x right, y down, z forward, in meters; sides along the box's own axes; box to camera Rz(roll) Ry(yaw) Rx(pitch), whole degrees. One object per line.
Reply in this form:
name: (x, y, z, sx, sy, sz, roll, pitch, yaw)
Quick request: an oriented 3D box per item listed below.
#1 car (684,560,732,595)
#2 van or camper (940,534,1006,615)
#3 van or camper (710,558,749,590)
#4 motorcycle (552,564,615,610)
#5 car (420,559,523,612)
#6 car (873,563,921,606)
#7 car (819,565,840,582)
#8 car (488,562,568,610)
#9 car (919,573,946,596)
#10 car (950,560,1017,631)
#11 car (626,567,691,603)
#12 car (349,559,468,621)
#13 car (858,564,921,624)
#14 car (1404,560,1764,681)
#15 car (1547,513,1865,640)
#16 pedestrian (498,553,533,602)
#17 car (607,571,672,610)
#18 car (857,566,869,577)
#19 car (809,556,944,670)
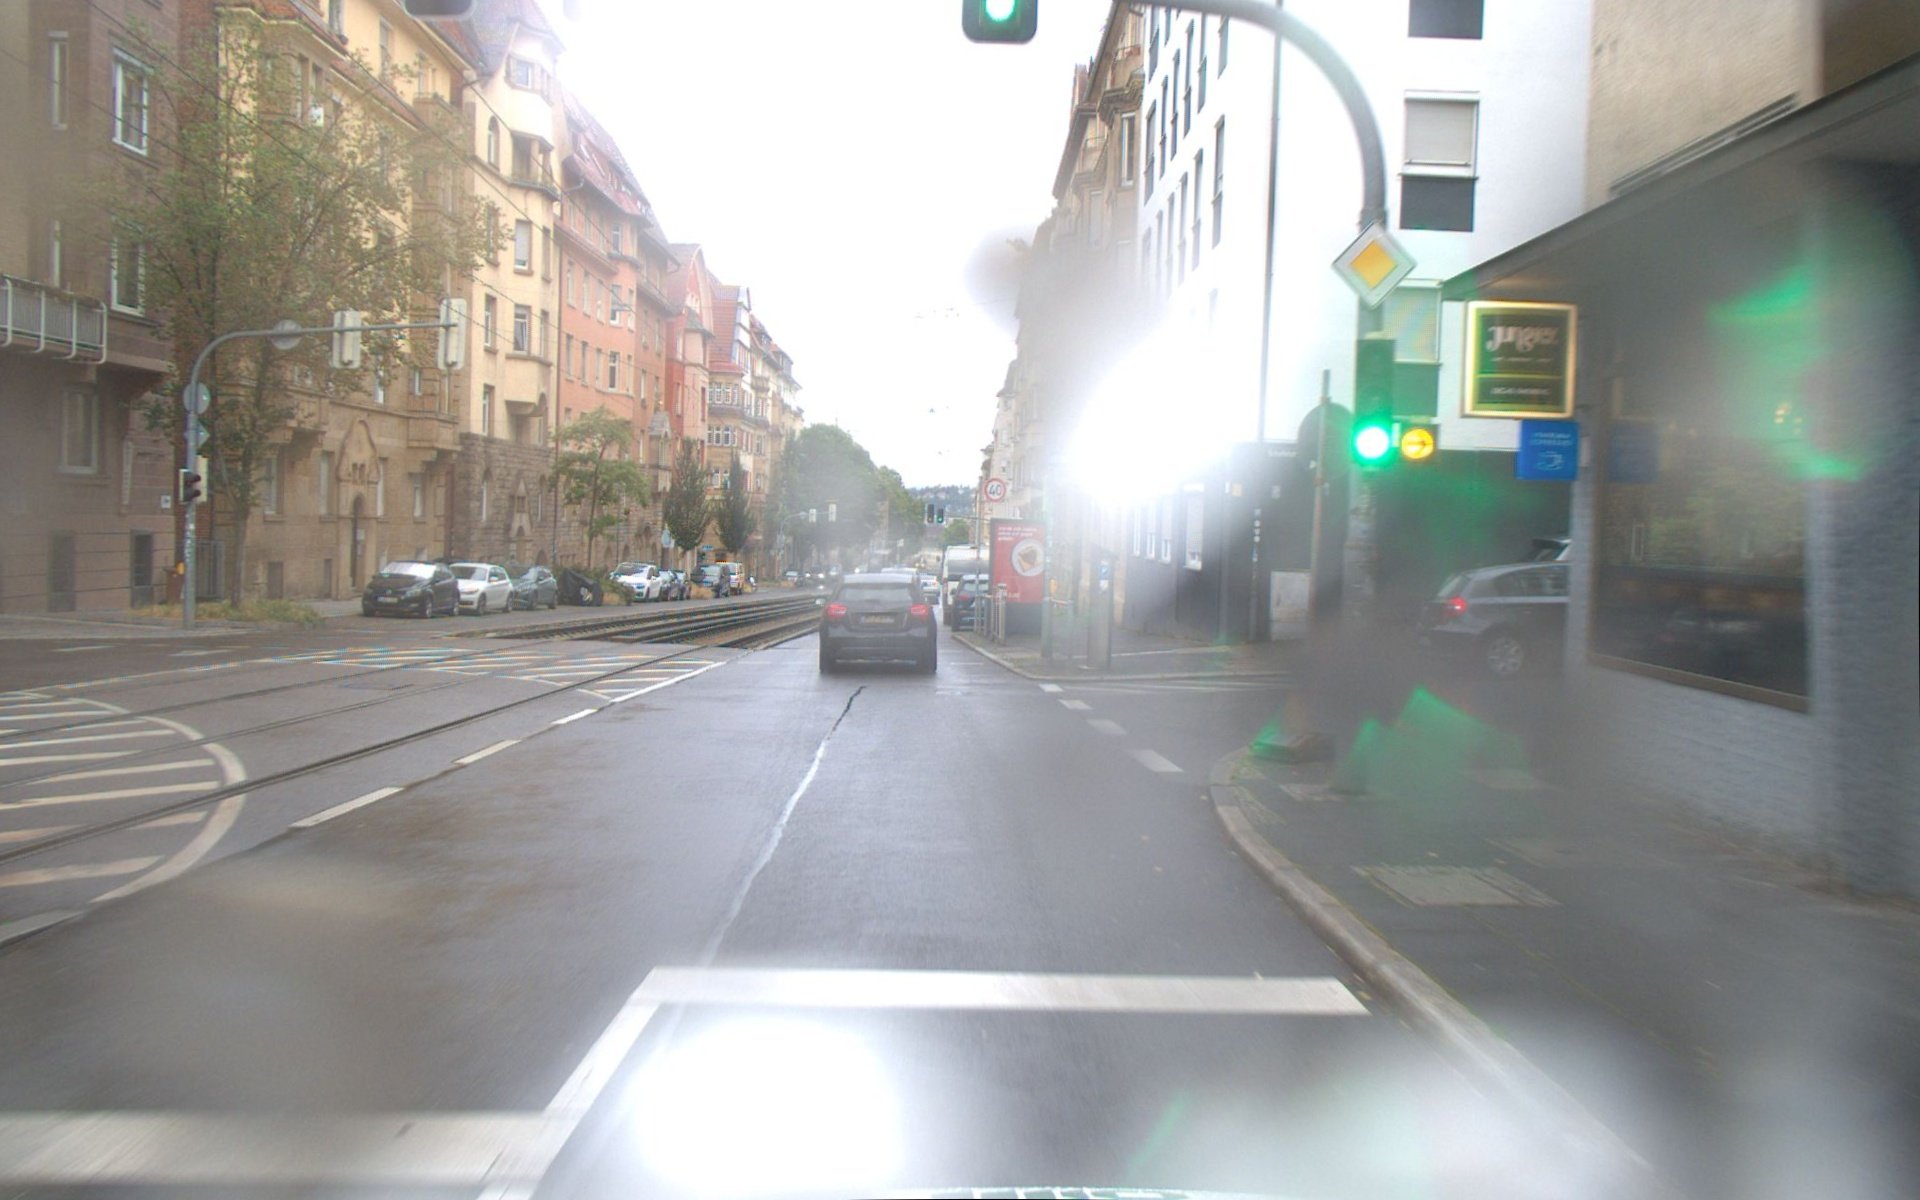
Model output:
car: (-14.567, -1.312, 95.776, 1.953, 1.934, 4.699, 1, 0, 0)
van or camper: (0.408, -0.810, 54.992, 2.022, 2.512, 6.119, 1, 0, 0)
van or camper: (-14.443, -1.661, 103.873, 1.953, 1.934, 4.698, 0, 1, -2)
motorcycle: (-14.289, -0.507, 62.726, 2.223, 1.671, 1.287, 1, 0, -17)
car: (-14.270, -0.433, 48.542, 1.632, 1.450, 4.263, 2, 1, 1)
car: (-2.633, -0.666, 68.487, 1.883, 1.684, 3.998, 0, 2, -4)
car: (-14.660, -2.937, 185.926, 1.953, 1.825, 4.000, 2, 1, 0)
car: (-14.251, -0.508, 54.764, 1.529, 1.463, 4.147, 0, 2, 1)
car: (-1.976, -1.095, 120.358, 1.863, 1.621, 4.000, 1, 0, 0)
car: (0.637, -0.151, 46.444, 1.732, 1.839, 4.482, 2, 1, 0)
car: (-14.398, -0.715, 79.208, 1.952, 1.535, 4.976, 4, 1, 2)
car: (-14.422, -0.255, 43.477, 1.728, 1.512, 4.000, 1, 0, 1)
car: (-1.939, -0.197, 46.272, 1.504, 1.536, 4.001, 2, 2, 0)
car: (7.809, 0.231, 20.961, 3.904, 1.439, 1.762, 0, 1, 2)
car: (10.886, -0.376, 24.344, 3.903, 1.719, 1.741, -1, 3, 3)
pedestrian: (-16.763, -0.863, 62.407, 0.986, 1.784, 0.924, 3, 1, -1)
car: (-14.147, -0.435, 73.314, 1.747, 1.617, 4.353, 1, 0, 4)
car: (-14.385, -4.167, 245.337, 1.760, 1.575, 3.997, 1, 0, -4)
car: (-1.226, 0.184, 25.428, 1.906, 1.592, 3.642, 1, 0, -1)
